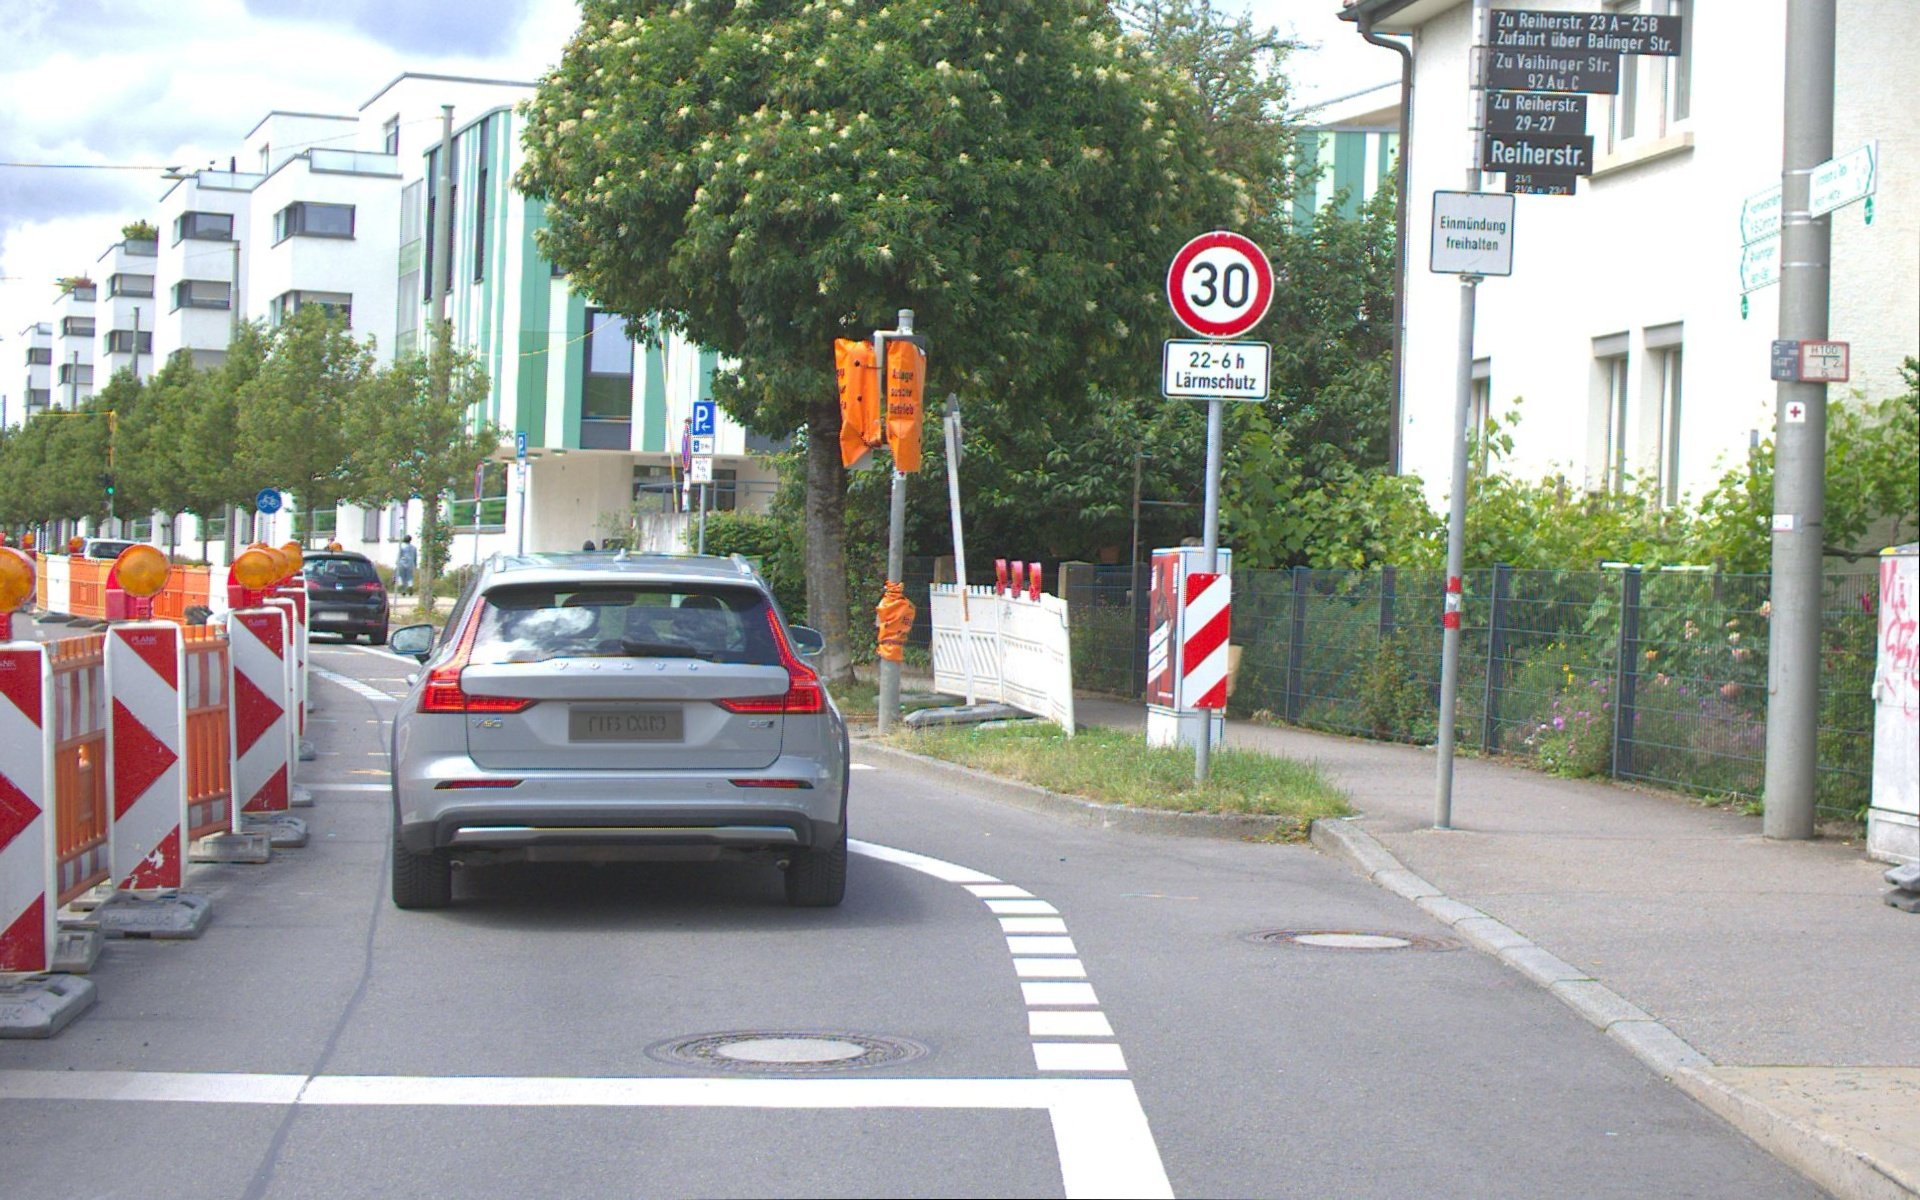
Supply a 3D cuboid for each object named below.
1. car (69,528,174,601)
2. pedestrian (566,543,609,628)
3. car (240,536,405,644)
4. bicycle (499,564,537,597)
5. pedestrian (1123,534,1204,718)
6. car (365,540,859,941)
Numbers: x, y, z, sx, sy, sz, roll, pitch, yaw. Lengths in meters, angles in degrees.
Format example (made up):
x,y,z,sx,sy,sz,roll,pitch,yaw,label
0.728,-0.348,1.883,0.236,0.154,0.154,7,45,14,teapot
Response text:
x,y,z,sx,sy,sz,roll,pitch,yaw,label
-19.070,-0.816,78.099,1.844,1.508,4.001,3,0,-19,car
-6.892,-0.279,63.532,0.580,1.546,0.869,1,0,-19,pedestrian
-9.975,-0.187,53.606,1.854,1.508,4.001,3,0,-19,car
-11.250,-0.490,87.515,0.307,0.839,1.023,2,1,39,bicycle
1.726,0.210,29.160,0.520,1.534,0.636,1,1,-10,pedestrian
-1.514,0.509,15.151,1.854,1.508,4.001,1,1,-5,car
